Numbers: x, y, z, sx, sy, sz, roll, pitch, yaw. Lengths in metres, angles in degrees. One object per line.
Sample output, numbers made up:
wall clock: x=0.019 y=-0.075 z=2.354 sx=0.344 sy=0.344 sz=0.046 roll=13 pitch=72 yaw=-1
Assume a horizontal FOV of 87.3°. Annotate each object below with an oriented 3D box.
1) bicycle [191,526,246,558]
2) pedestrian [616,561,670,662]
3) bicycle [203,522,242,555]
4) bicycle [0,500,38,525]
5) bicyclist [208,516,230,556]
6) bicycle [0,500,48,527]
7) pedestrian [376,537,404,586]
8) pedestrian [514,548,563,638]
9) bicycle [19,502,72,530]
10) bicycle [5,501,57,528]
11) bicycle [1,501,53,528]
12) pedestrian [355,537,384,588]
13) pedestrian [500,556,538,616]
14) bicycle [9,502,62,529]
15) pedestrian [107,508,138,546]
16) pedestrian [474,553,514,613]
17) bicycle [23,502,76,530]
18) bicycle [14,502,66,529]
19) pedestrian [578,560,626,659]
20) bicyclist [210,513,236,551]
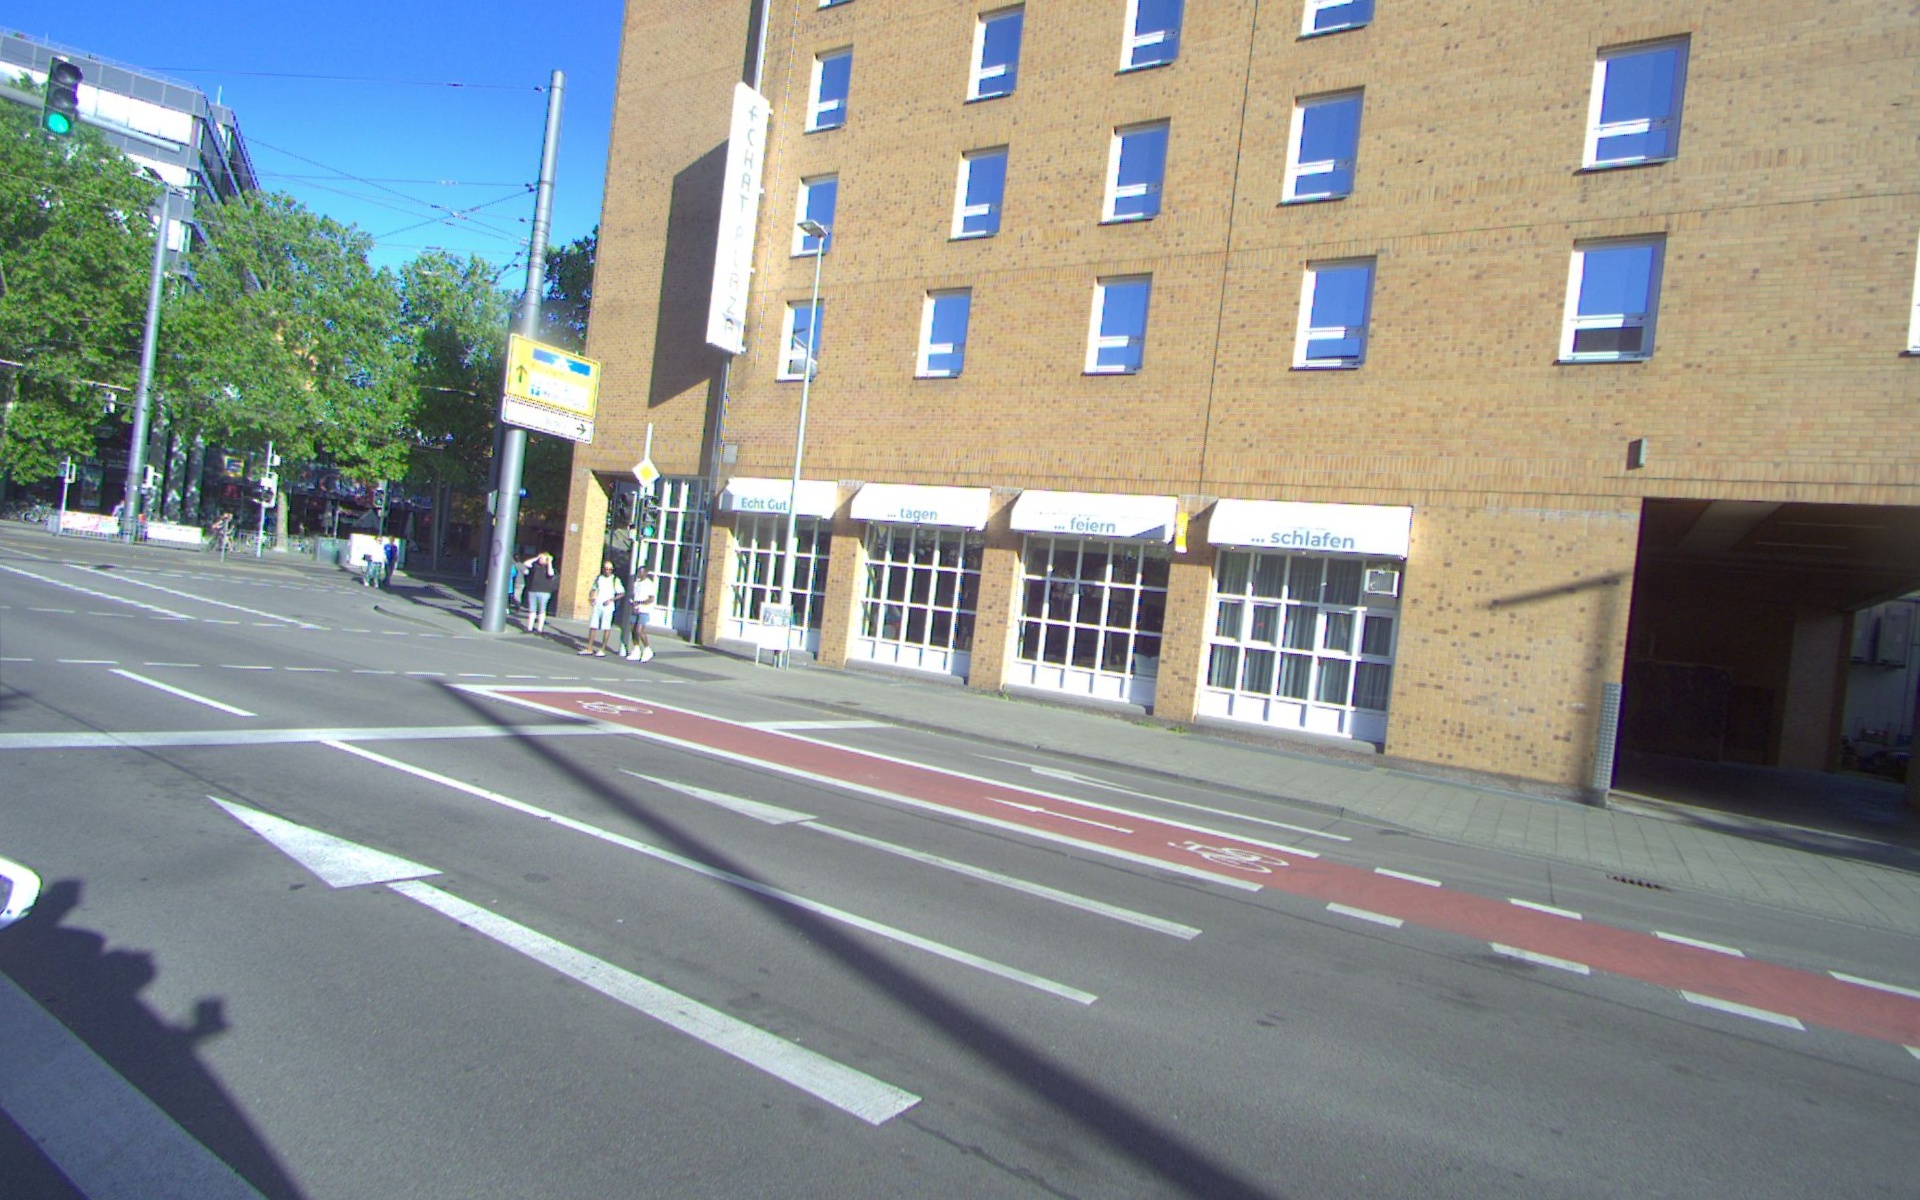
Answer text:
bicycle: x=-36.429 y=-2.840 z=49.445 sx=0.414 sy=1.228 sz=2.046 roll=6 pitch=-2 yaw=32
pedestrian: x=-5.948 y=0.223 z=18.901 sx=0.583 sy=1.802 sz=0.682 roll=6 pitch=0 yaw=6
bicycle: x=-31.895 y=-2.641 z=43.528 sx=0.560 sy=1.191 sz=2.322 roll=7 pitch=-2 yaw=-18
bicycle: x=-50.196 y=-4.652 z=53.269 sx=0.354 sy=1.058 sz=1.885 roll=7 pitch=-2 yaw=31
bicyclist: x=-36.417 y=-3.154 z=49.418 sx=0.396 sy=1.859 sz=0.585 roll=6 pitch=-1 yaw=31
bicycle: x=-49.192 y=-4.535 z=52.754 sx=0.354 sy=1.058 sz=1.885 roll=7 pitch=-2 yaw=31
pedestrian: x=-18.472 y=-1.238 z=32.608 sx=0.563 sy=1.496 sz=0.695 roll=8 pitch=-2 yaw=-37
pedestrian: x=-8.946 y=-0.147 z=21.387 sx=0.726 sy=1.813 sz=0.510 roll=7 pitch=-1 yaw=-19
bicycle: x=-46.644 y=-4.275 z=51.310 sx=0.354 sy=1.058 sz=1.884 roll=6 pitch=-2 yaw=31
bicycle: x=-48.325 y=-4.423 z=52.327 sx=0.354 sy=1.058 sz=1.884 roll=6 pitch=-2 yaw=31
bicycle: x=-48.737 y=-4.478 z=52.564 sx=0.354 sy=1.058 sz=1.885 roll=7 pitch=-2 yaw=31
pedestrian: x=-18.933 y=-1.210 z=32.230 sx=0.563 sy=1.550 sz=0.695 roll=8 pitch=-2 yaw=-37
pedestrian: x=-11.621 y=-0.364 z=26.510 sx=0.543 sy=1.495 sz=0.593 roll=6 pitch=0 yaw=32
bicycle: x=-47.792 y=-4.368 z=52.012 sx=0.354 sy=1.058 sz=1.884 roll=7 pitch=-2 yaw=31
pedestrian: x=-41.584 y=-3.609 z=49.966 sx=0.747 sy=1.724 sz=0.834 roll=6 pitch=-1 yaw=32
pedestrian: x=-11.924 y=-0.432 z=25.731 sx=0.591 sy=1.470 sz=0.593 roll=6 pitch=0 yaw=32
bicycle: x=-46.020 y=-4.227 z=50.856 sx=0.354 sy=1.058 sz=1.884 roll=6 pitch=-2 yaw=31
bicycle: x=-47.306 y=-4.328 z=51.761 sx=0.354 sy=1.058 sz=1.884 roll=6 pitch=-2 yaw=31
pedestrian: x=-6.773 y=0.170 z=19.020 sx=0.588 sy=1.802 sz=0.676 roll=5 pitch=1 yaw=-31
bicyclist: x=-31.851 y=-2.929 z=43.475 sx=0.559 sy=1.536 sz=0.631 roll=7 pitch=-1 yaw=-19
